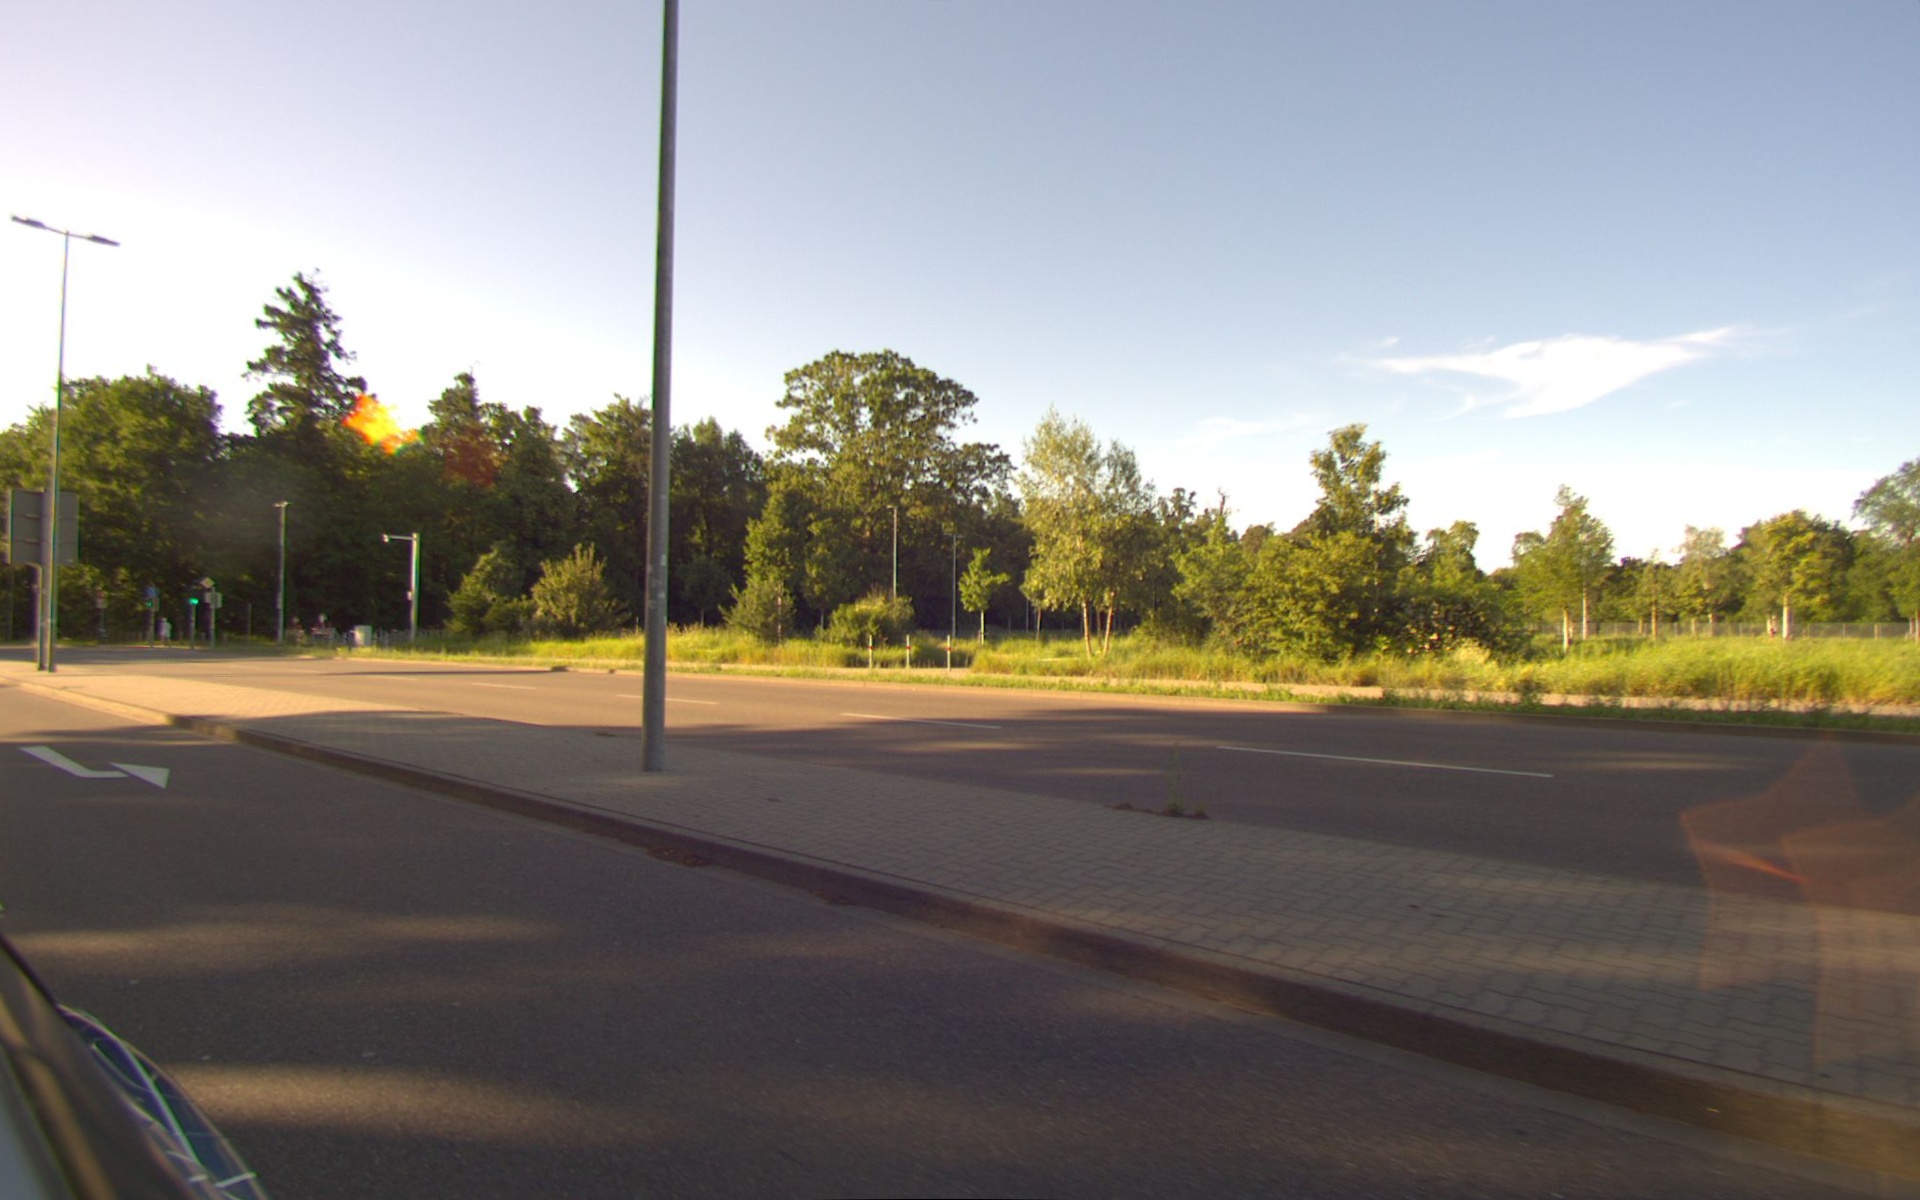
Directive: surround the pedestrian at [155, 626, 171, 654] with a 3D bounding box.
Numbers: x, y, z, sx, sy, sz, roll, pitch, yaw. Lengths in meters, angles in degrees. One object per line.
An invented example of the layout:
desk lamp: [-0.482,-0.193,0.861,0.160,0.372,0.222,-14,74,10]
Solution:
pedestrian: [-51.193,2.583,65.005,0.733,1.788,0.682,-2,-3,43]
